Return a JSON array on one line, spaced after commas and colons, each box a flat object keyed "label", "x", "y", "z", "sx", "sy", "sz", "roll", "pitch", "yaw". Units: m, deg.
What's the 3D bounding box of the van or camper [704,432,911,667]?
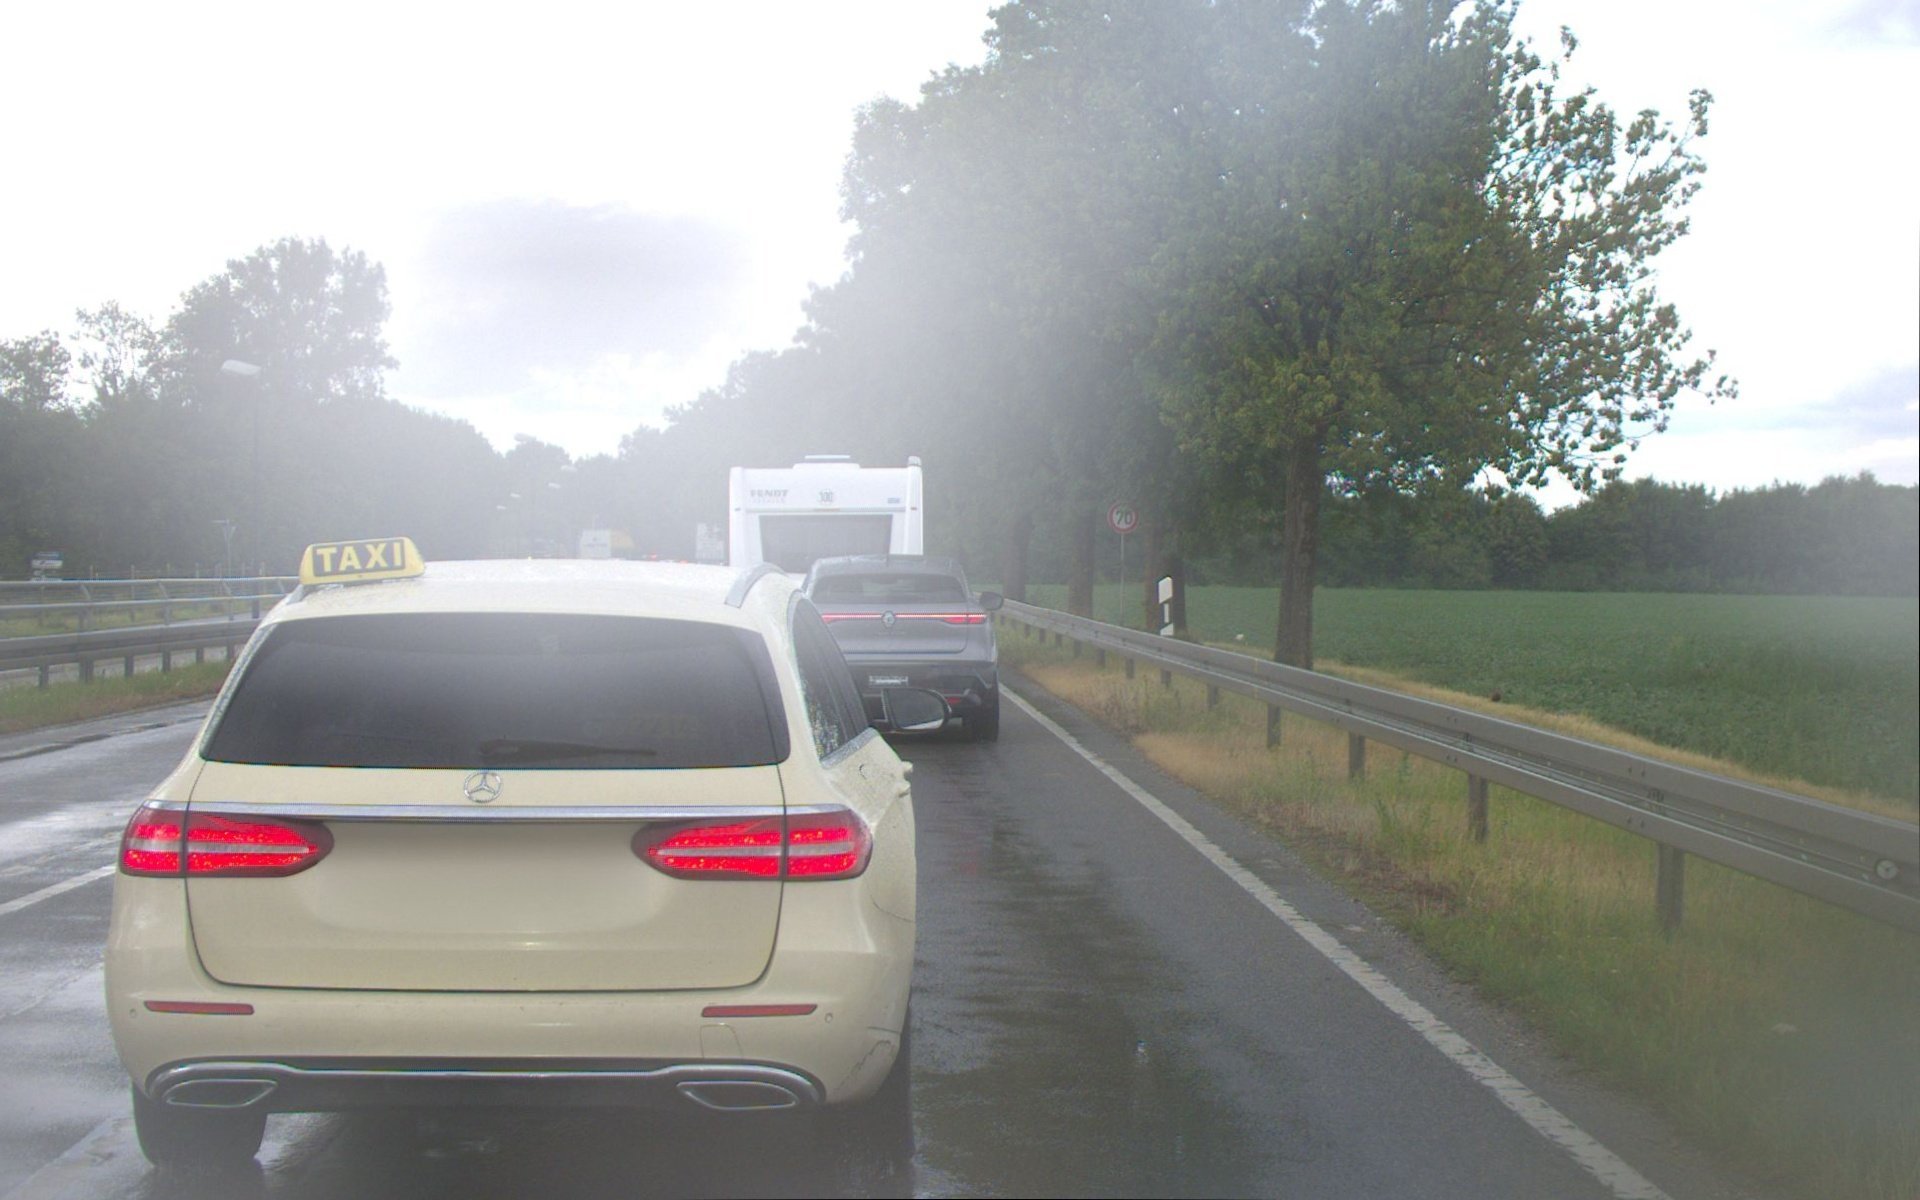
[{"label": "van or camper", "x": -1.801, "y": -0.641, "z": 42.485, "sx": 2.350, "sy": 2.671, "sz": 5.769, "roll": 1, "pitch": 1, "yaw": -1}]

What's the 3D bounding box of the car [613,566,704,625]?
[{"label": "car", "x": -6.772, "y": -0.113, "z": 77.452, "sx": 1.758, "sy": 1.265, "sz": 4.000, "roll": 1, "pitch": 1, "yaw": -1}]

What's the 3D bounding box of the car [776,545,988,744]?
[{"label": "car", "x": -0.634, "y": 0.315, "z": 28.555, "sx": 1.627, "sy": 1.524, "sz": 3.933, "roll": 1, "pitch": 1, "yaw": -1}]

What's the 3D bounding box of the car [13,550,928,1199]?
[{"label": "car", "x": -1.024, "y": 0.613, "z": 9.123, "sx": 1.825, "sy": 1.480, "sz": 4.145, "roll": 0, "pitch": 1, "yaw": 0}]
